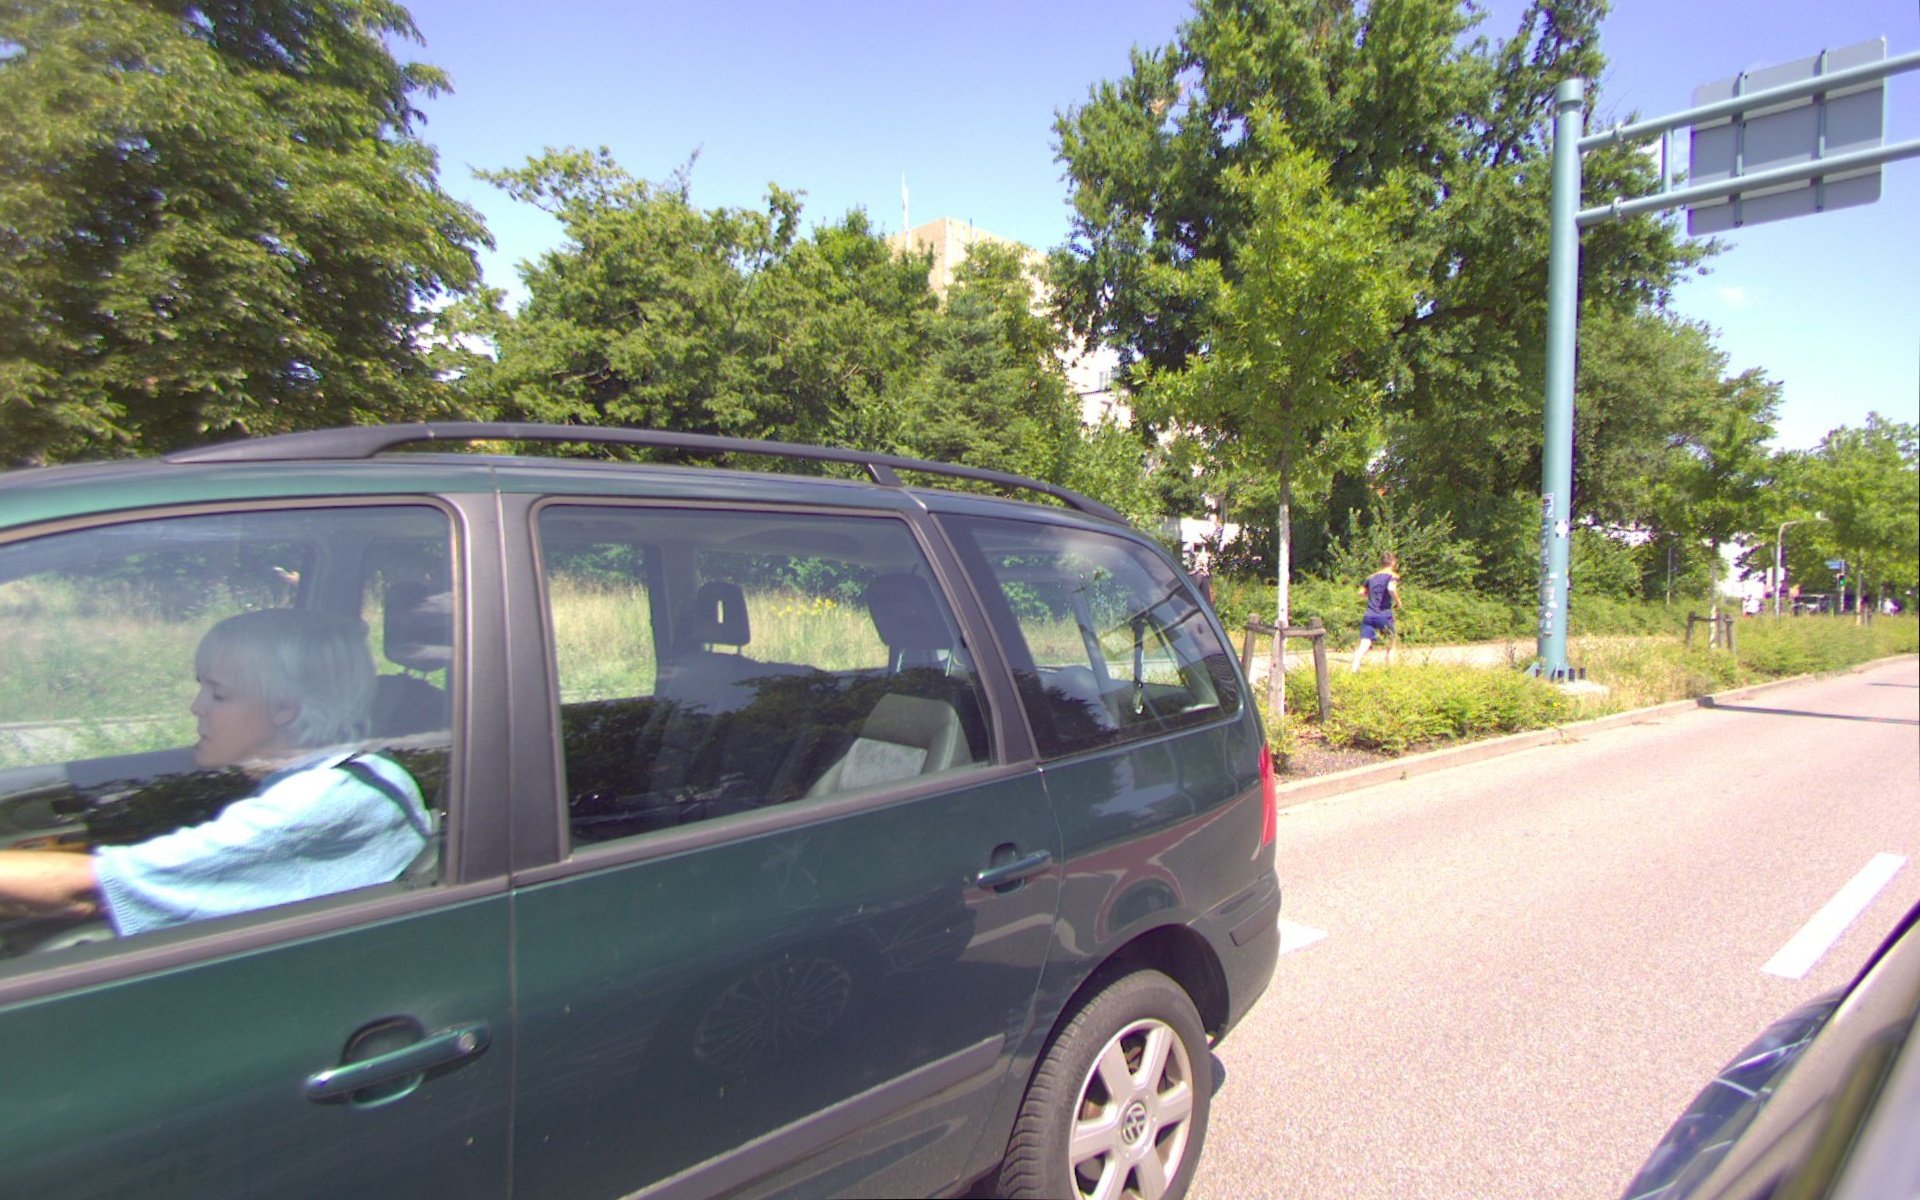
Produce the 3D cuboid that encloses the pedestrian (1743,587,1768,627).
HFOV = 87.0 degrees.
[{"bbox_3d":[41.518,0.345,52.846,0.838,2.063,0.893,1,0,28],"label":"pedestrian"}]

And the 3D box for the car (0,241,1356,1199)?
[{"bbox_3d":[-1.145,0.528,1.975,4.315,1.737,1.804,0,-1,-41],"label":"car"}]

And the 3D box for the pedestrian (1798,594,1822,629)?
[{"bbox_3d":[40.043,0.523,47.668,0.752,1.630,0.765,1,1,-45],"label":"pedestrian"}]

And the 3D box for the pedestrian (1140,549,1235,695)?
[{"bbox_3d":[2.773,0.248,12.361,0.799,1.705,0.762,1,1,-29],"label":"pedestrian"}]

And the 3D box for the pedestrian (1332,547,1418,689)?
[{"bbox_3d":[5.429,0.219,13.245,0.869,1.787,0.640,1,1,-35],"label":"pedestrian"}]

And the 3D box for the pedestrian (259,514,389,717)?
[{"bbox_3d":[-5.308,0.113,8.441,0.801,1.576,0.760,1,1,-40],"label":"pedestrian"}]
